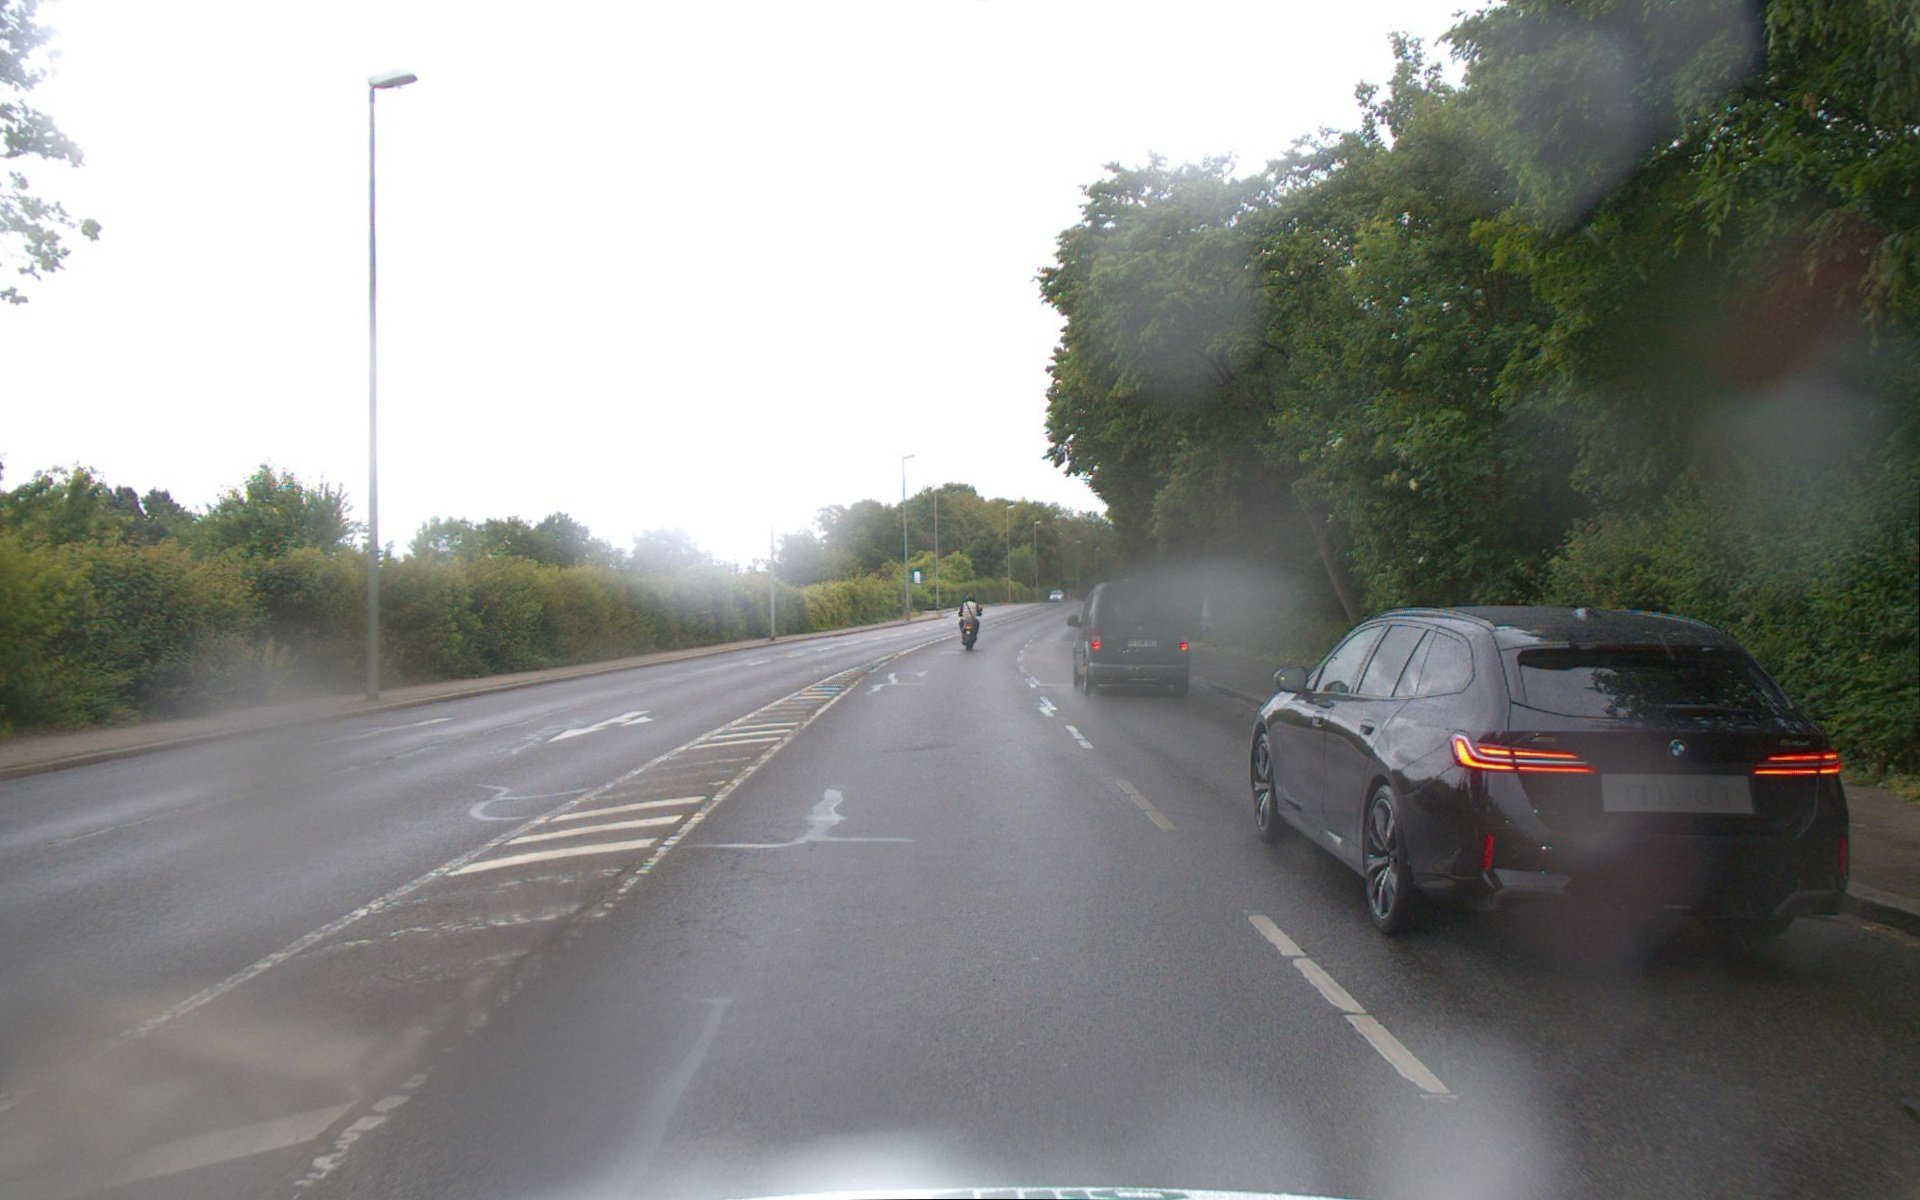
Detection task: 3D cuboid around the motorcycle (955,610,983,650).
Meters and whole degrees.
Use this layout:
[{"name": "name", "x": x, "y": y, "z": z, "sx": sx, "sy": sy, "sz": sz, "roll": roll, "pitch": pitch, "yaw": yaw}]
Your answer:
[{"name": "motorcycle", "x": 0.276, "y": 0.905, "z": 49.758, "sx": 0.725, "sy": 1.139, "sz": 1.427, "roll": 0, "pitch": 1, "yaw": 6}]

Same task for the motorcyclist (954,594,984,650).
[{"name": "motorcyclist", "x": 0.267, "y": 0.657, "z": 49.696, "sx": 0.827, "sy": 1.676, "sz": 0.468, "roll": 0, "pitch": 1, "yaw": 6}]

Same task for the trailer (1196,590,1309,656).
[{"name": "trailer", "x": 9.345, "y": 0.724, "z": 53.022, "sx": 3.280, "sy": 1.675, "sz": 1.199, "roll": 8, "pitch": 1, "yaw": 4}]

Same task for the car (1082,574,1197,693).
[{"name": "car", "x": 3.003, "y": 0.509, "z": 28.312, "sx": 1.730, "sy": 1.841, "sz": 3.907, "roll": 0, "pitch": 2, "yaw": 3}]

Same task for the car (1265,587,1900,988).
[{"name": "car", "x": 2.834, "y": 0.760, "z": 8.438, "sx": 1.729, "sy": 1.563, "sz": 3.671, "roll": 1, "pitch": 0, "yaw": -2}]

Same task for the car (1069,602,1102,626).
[{"name": "car", "x": 8.645, "y": 0.946, "z": 113.654, "sx": 1.972, "sy": 1.440, "sz": 4.490, "roll": 0, "pitch": 2, "yaw": 7}]
